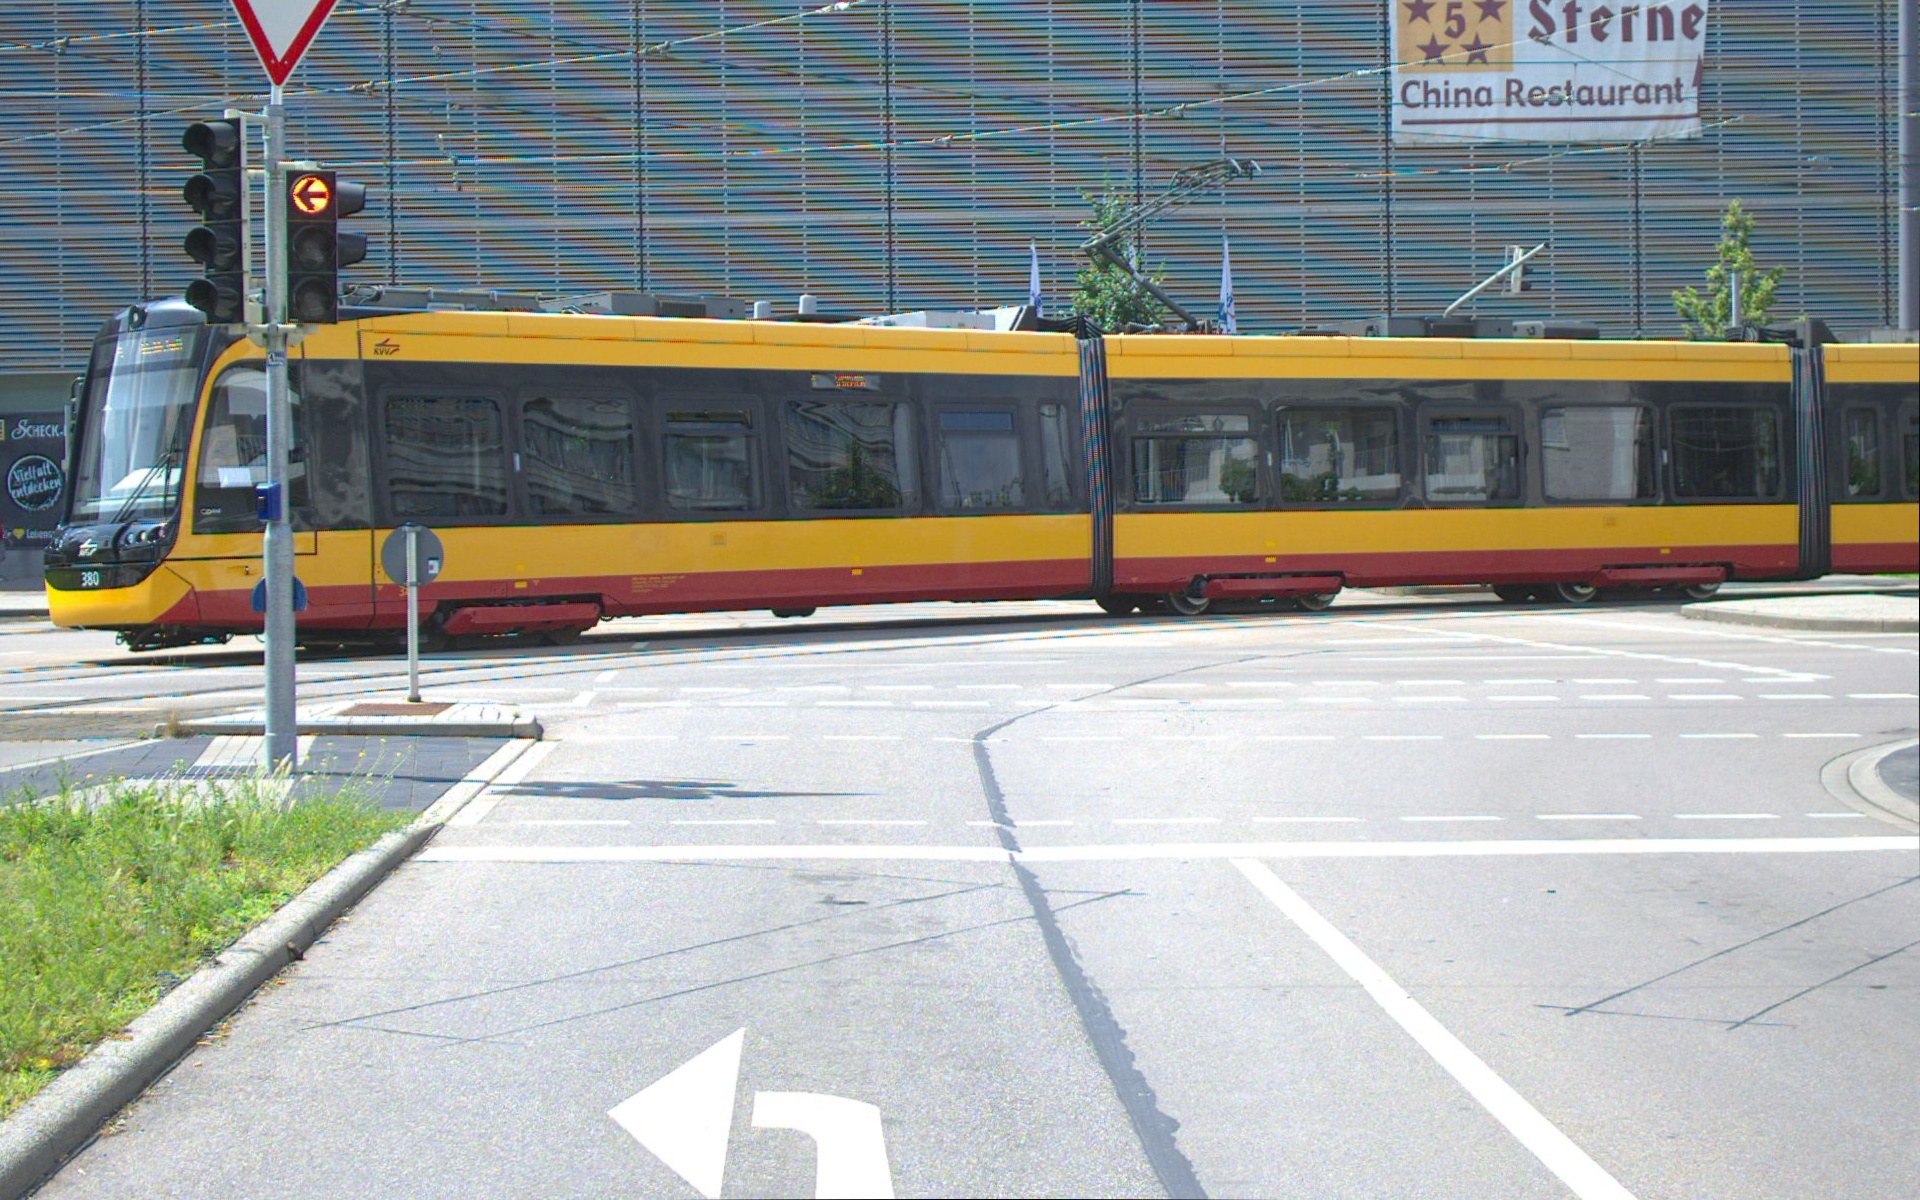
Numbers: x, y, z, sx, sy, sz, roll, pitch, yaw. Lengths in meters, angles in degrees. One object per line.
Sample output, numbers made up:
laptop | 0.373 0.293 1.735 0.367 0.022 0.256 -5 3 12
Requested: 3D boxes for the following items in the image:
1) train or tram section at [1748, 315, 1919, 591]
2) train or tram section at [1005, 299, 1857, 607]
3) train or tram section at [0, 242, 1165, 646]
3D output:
train or tram section | 17.507 -1.992 48.021 12.590 3.608 3.066 0 2 -14
train or tram section | 6.151 -1.826 43.923 10.955 3.590 3.066 -1 2 -27
train or tram section | -3.578 -1.577 36.383 13.464 3.586 3.225 -2 3 -44
